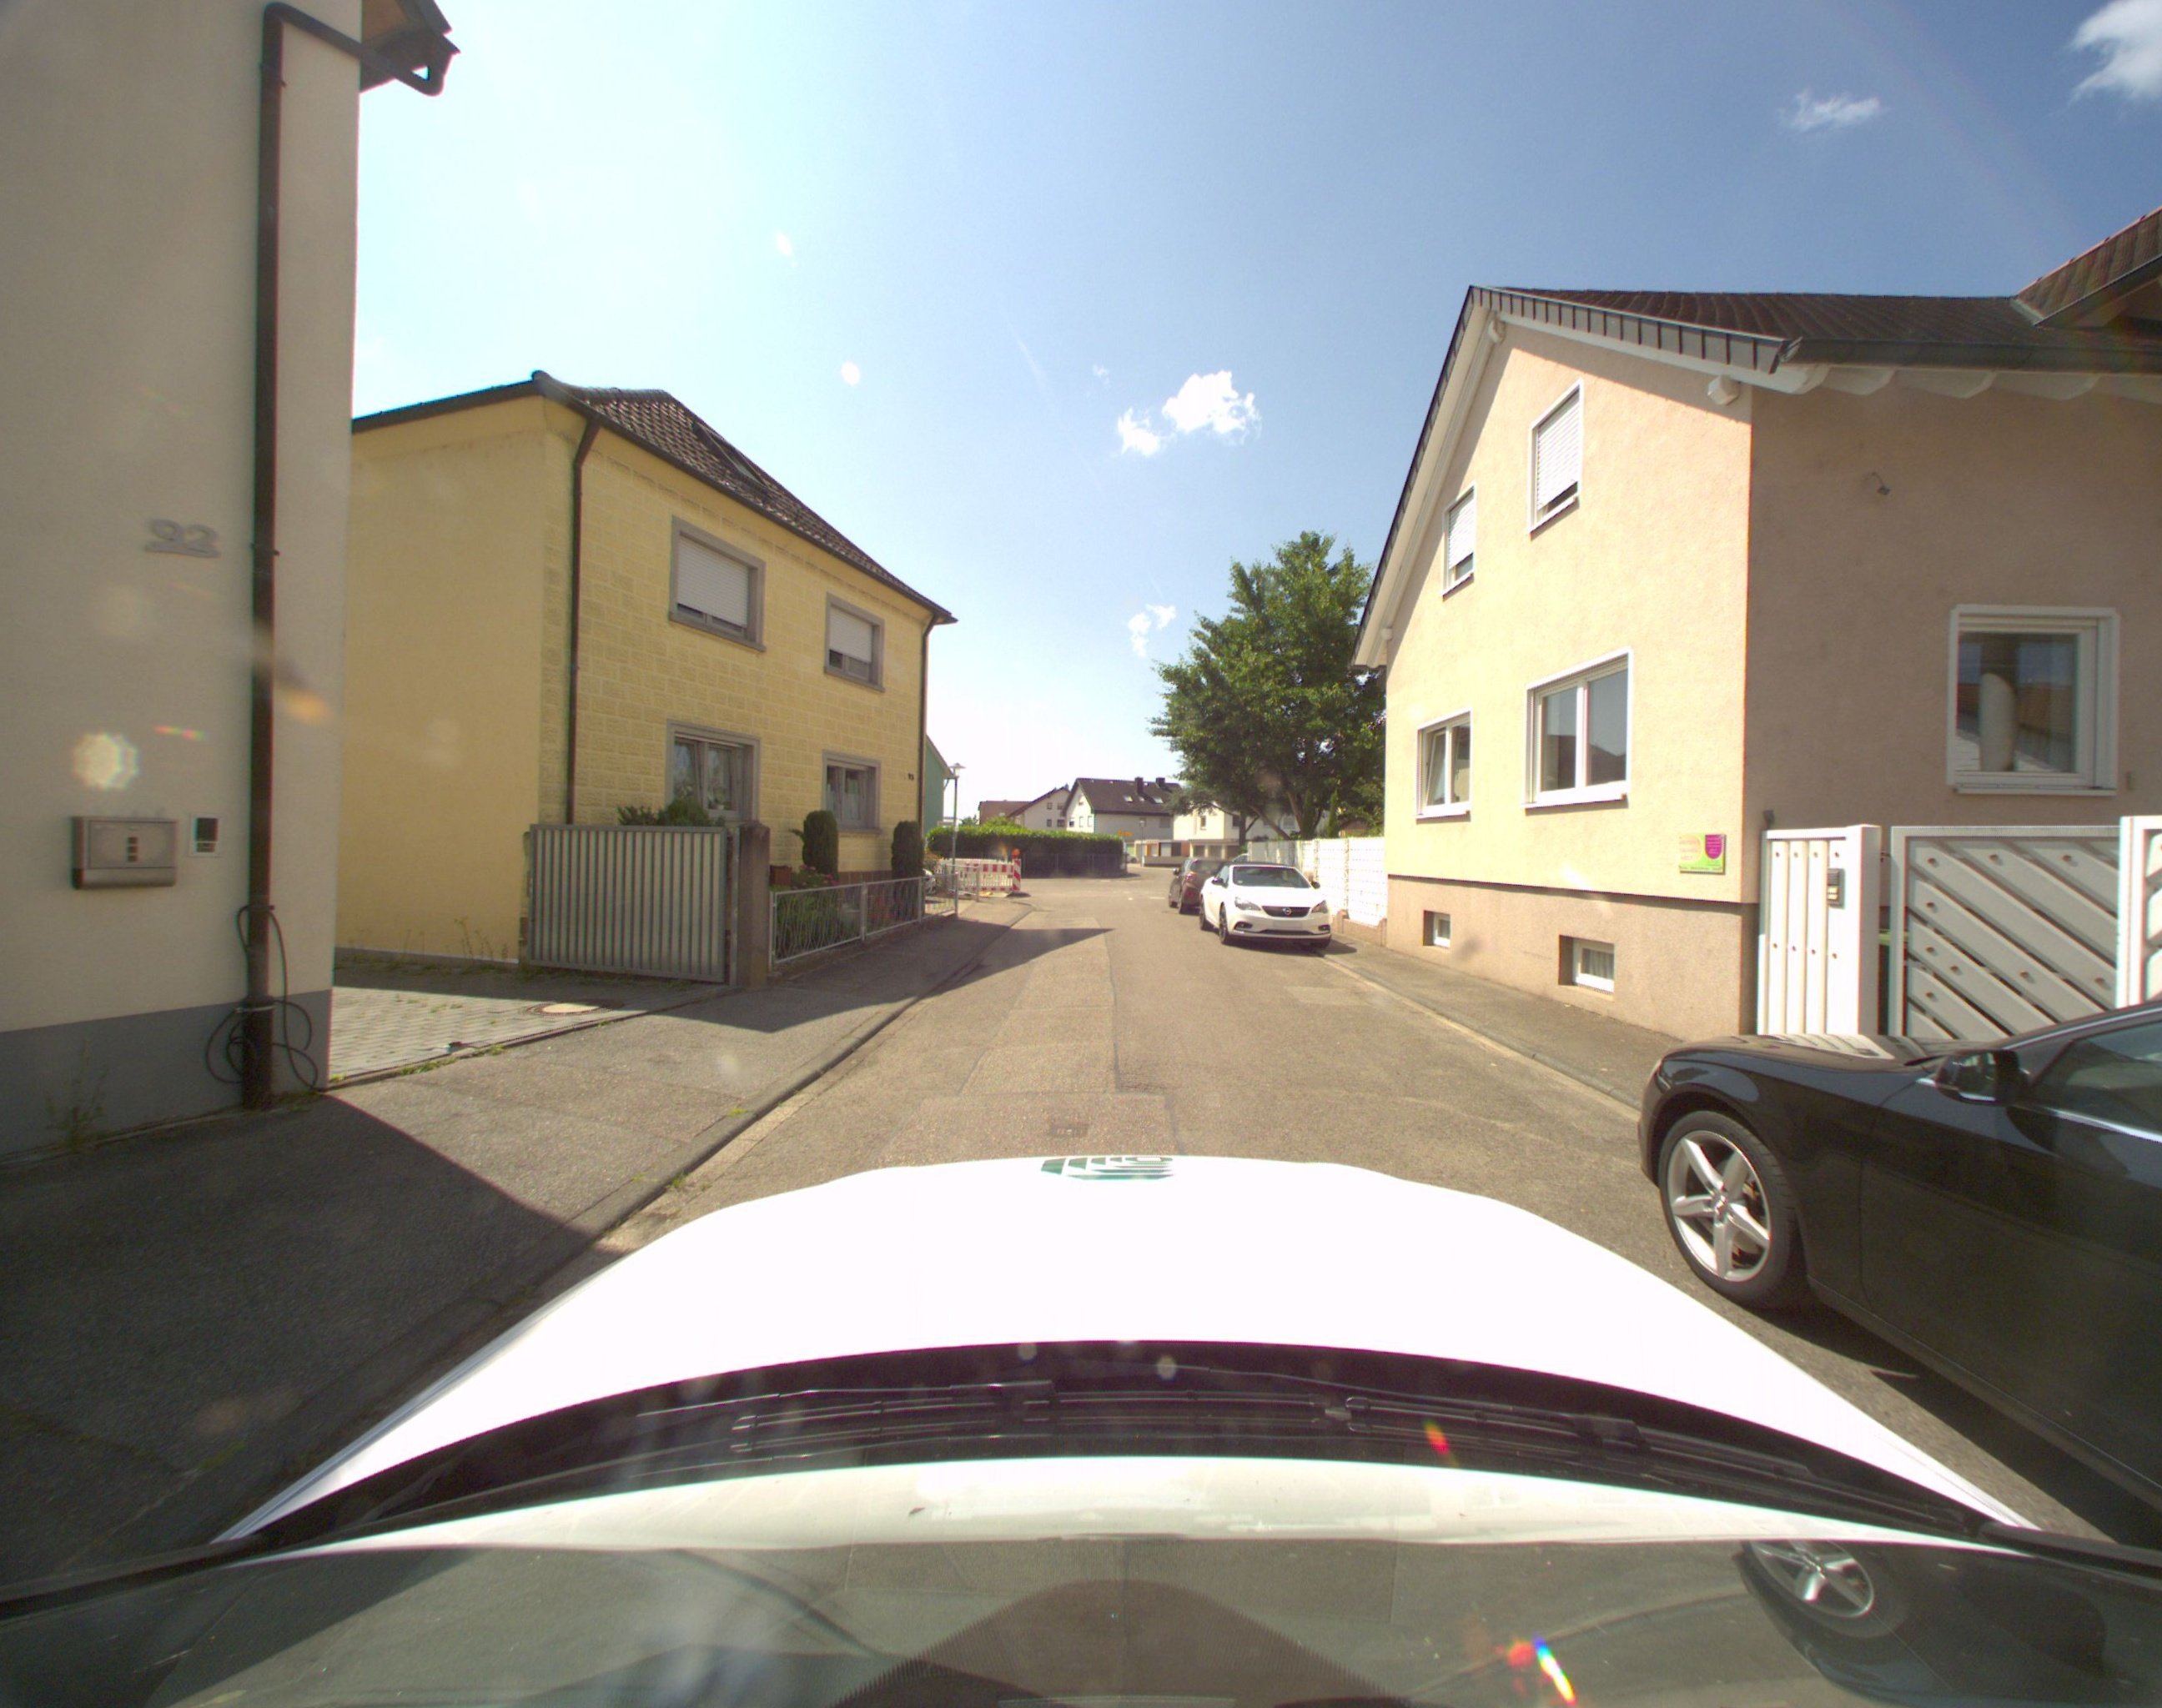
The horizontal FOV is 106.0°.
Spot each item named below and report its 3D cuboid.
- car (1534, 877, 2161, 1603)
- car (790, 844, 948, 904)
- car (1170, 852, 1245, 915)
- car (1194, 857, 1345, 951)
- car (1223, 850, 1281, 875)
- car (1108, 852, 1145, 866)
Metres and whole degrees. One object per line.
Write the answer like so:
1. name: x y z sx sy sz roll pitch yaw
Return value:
1. car: 3.103 0.824 1.664 1.888 1.365 4.740 2 0 3
2. car: -6.040 0.509 23.060 4.415 1.485 1.803 1 0 33
3. car: 3.386 0.743 22.423 1.704 1.532 4.040 2 0 4
4. car: 3.374 0.821 15.563 1.889 1.428 4.739 2 0 1
5. car: 11.558 0.572 55.216 1.805 1.563 4.112 1 0 -23
6. car: 4.954 0.492 88.373 3.612 1.408 1.772 1 0 -21
